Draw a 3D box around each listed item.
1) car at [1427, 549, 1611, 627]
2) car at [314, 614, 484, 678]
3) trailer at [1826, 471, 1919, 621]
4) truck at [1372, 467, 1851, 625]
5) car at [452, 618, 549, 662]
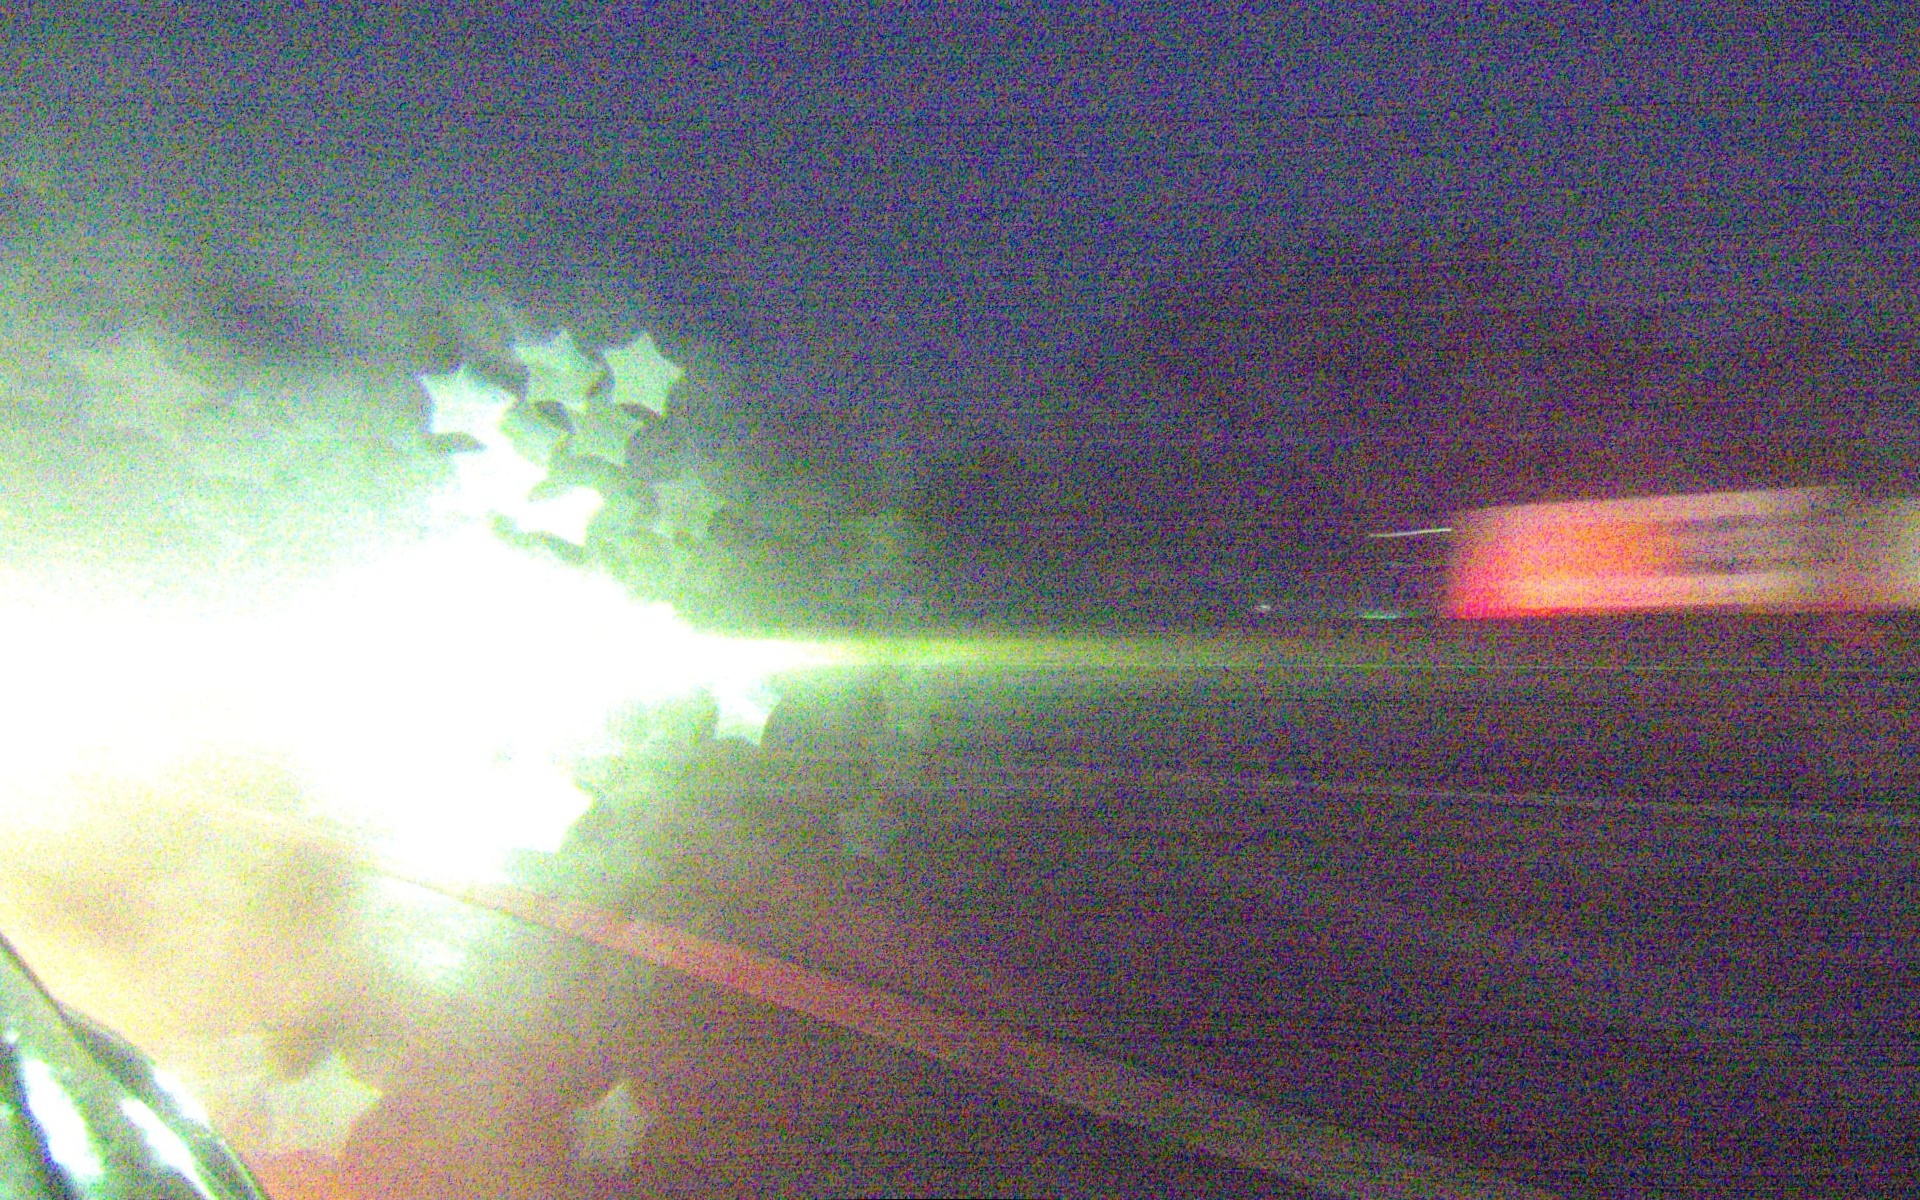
[{"bbox_3d":[14.307,-0.301,26.078,3.983,1.821,1.891,-2,1,29],"label":"car"},{"bbox_3d":[-15.463,1.244,27.866,4.568,1.572,1.980,-2,1,29],"label":"car"},{"bbox_3d":[26.409,-1.417,23.693,8.847,3.536,2.609,-2,1,28],"label":"trailer"},{"bbox_3d":[17.577,-1.283,28.486,10.813,3.721,2.609,-2,1,28],"label":"truck"},{"bbox_3d":[-20.547,1.773,45.236,3.983,1.821,1.891,-2,1,29],"label":"car"}]
